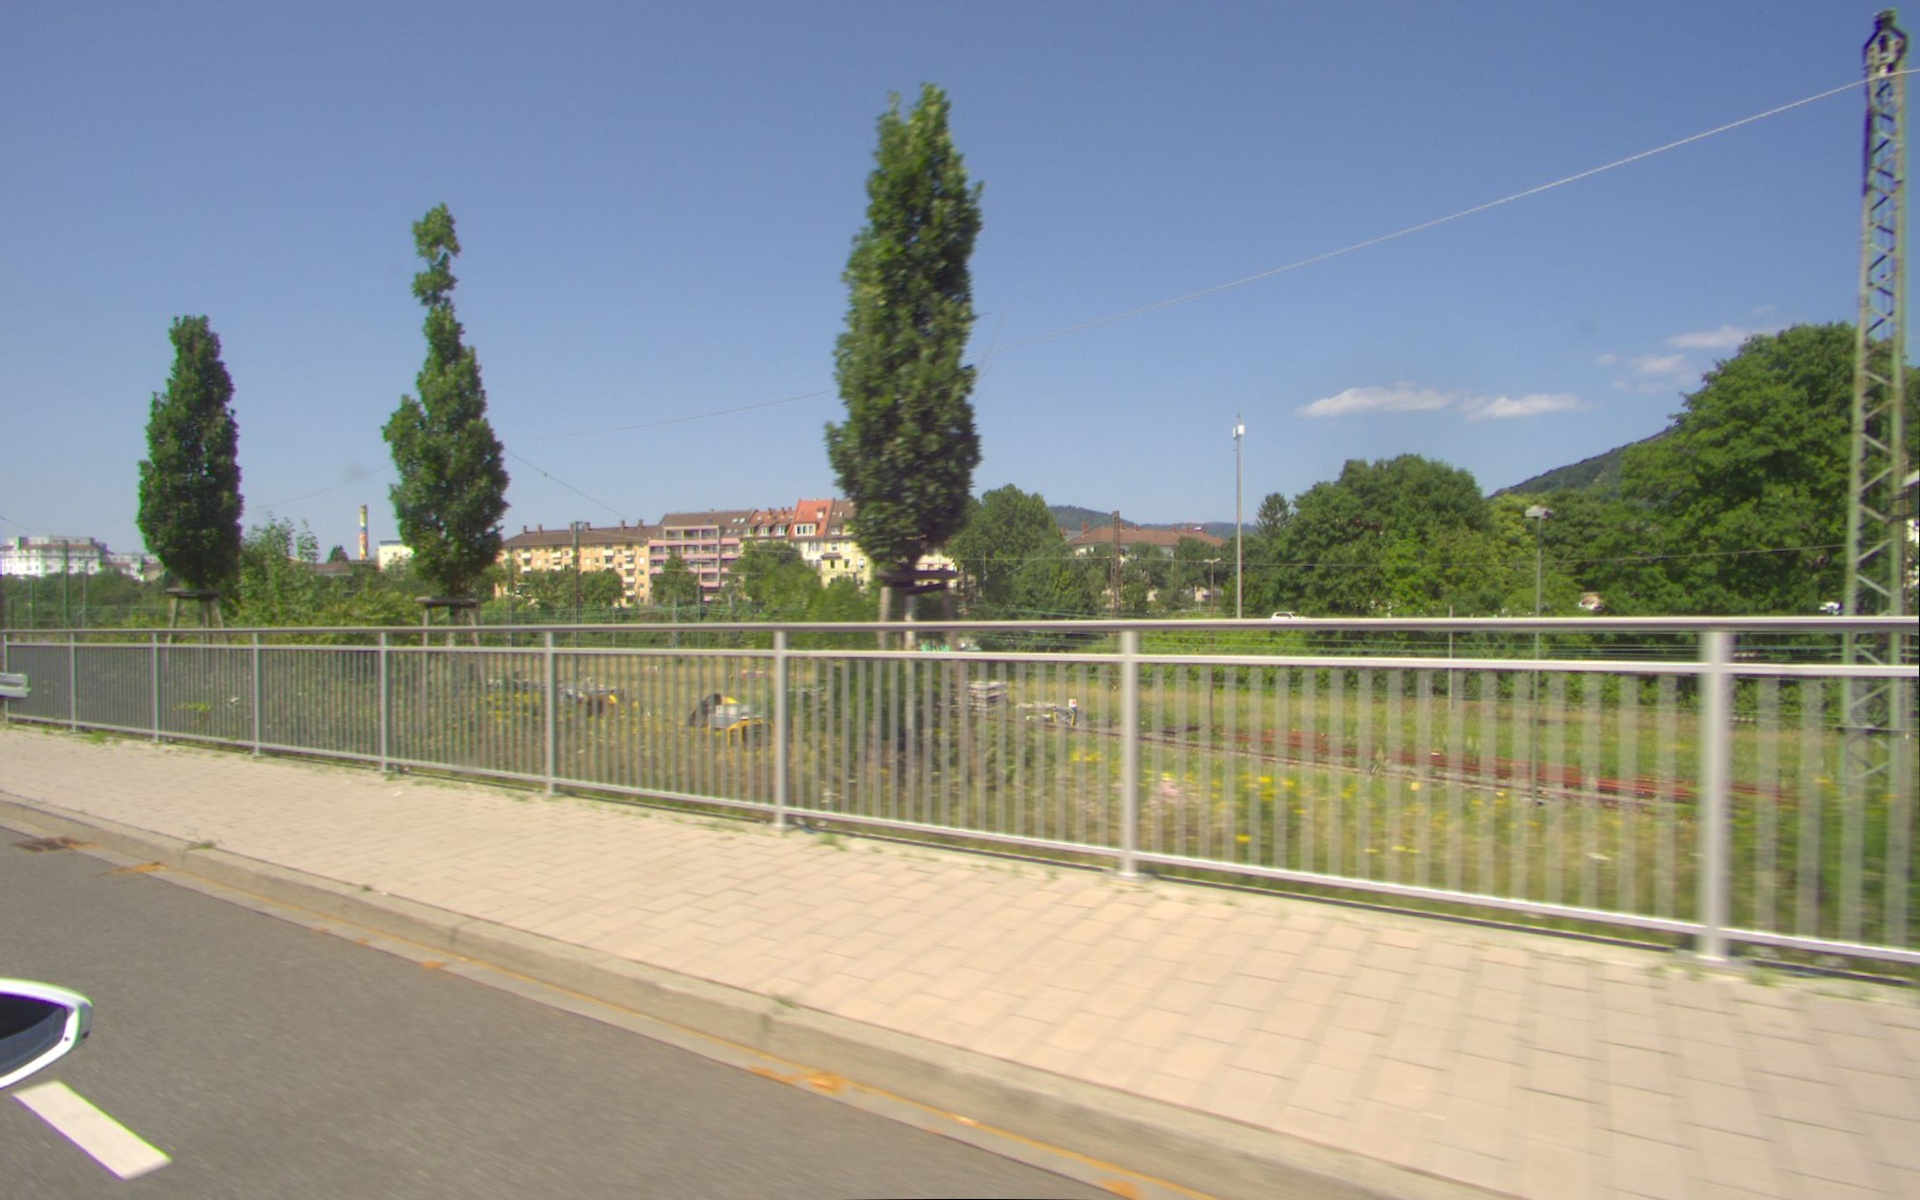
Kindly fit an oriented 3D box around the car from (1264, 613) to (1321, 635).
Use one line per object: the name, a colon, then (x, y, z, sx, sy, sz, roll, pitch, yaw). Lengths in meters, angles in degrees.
car: (32.967, 2.365, 99.355, 4.930, 2.140, 1.985, 0, 0, 39)
